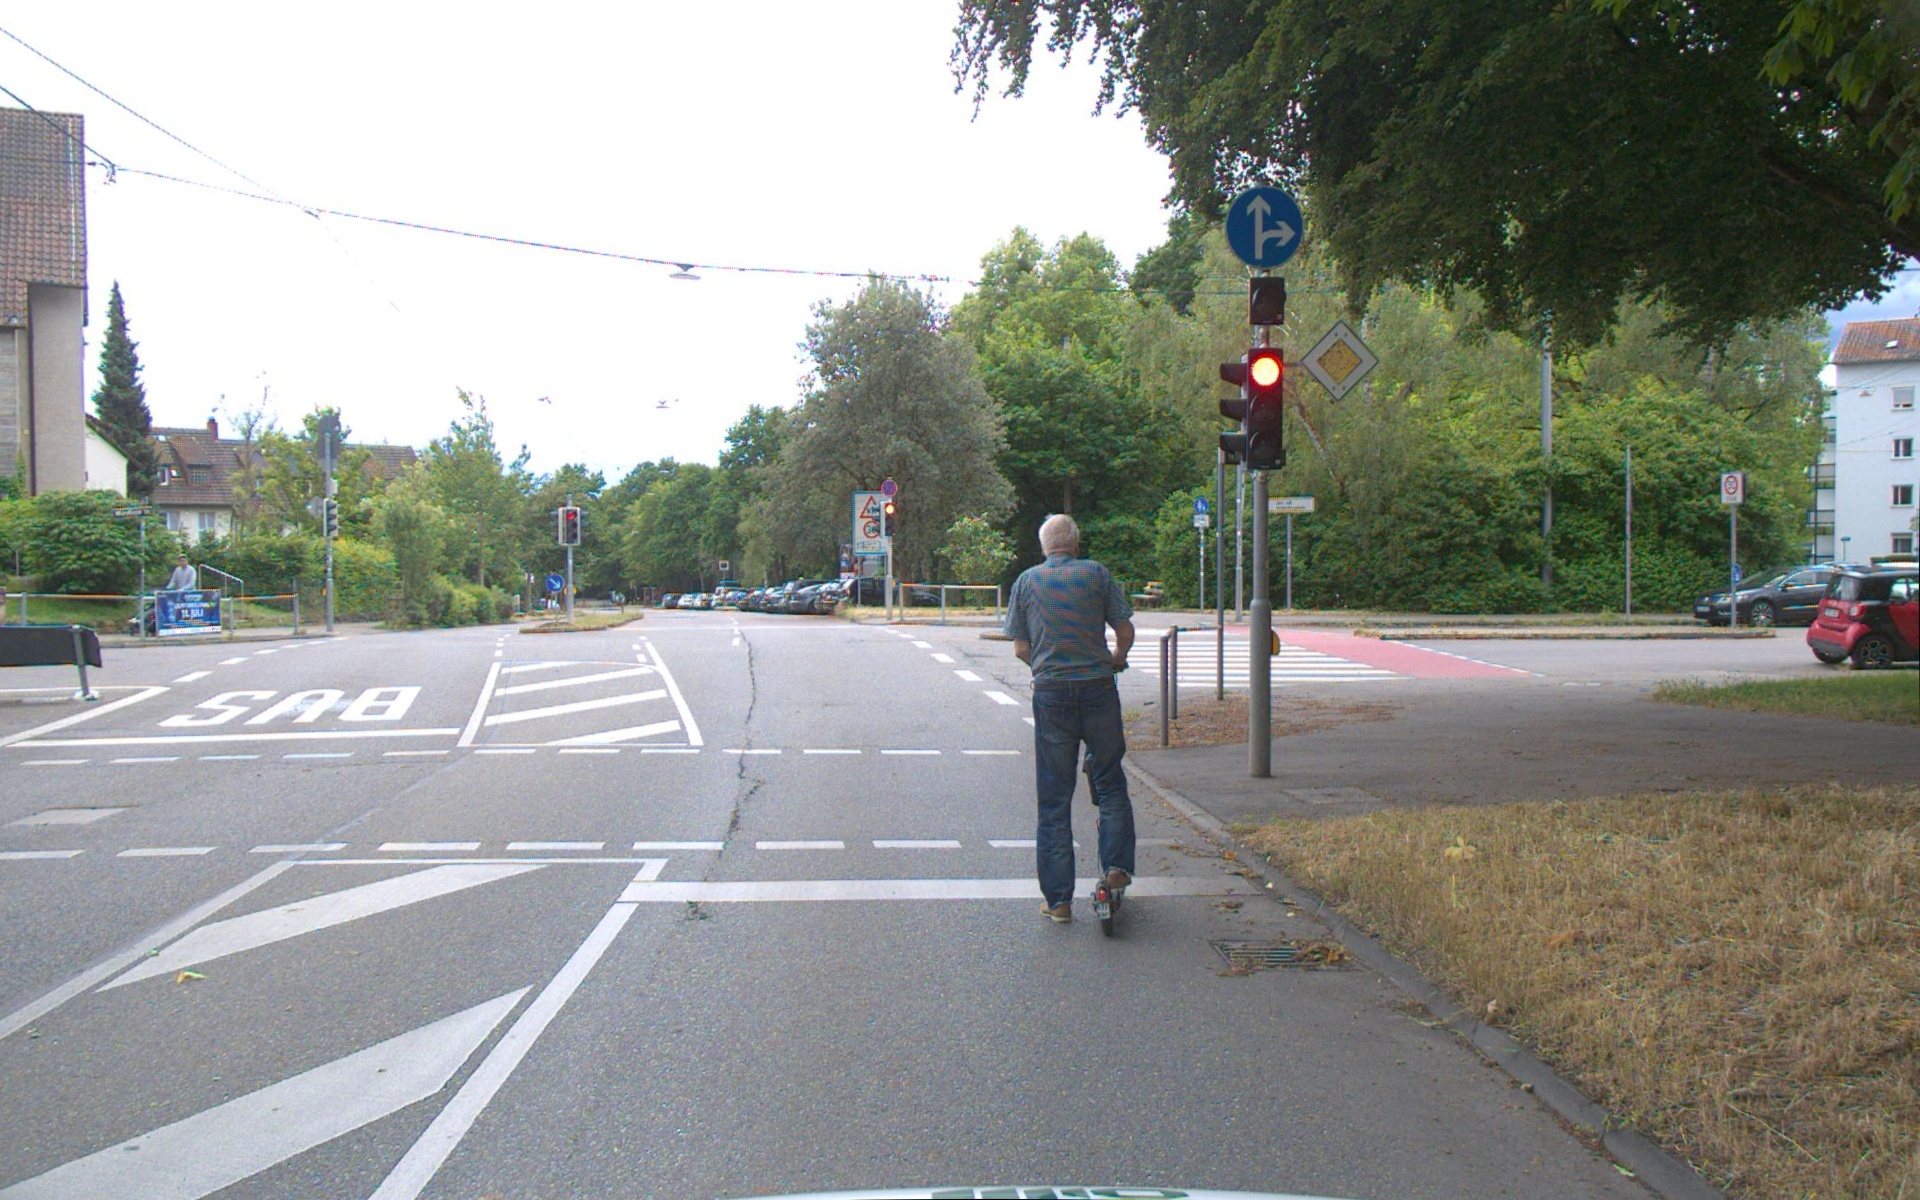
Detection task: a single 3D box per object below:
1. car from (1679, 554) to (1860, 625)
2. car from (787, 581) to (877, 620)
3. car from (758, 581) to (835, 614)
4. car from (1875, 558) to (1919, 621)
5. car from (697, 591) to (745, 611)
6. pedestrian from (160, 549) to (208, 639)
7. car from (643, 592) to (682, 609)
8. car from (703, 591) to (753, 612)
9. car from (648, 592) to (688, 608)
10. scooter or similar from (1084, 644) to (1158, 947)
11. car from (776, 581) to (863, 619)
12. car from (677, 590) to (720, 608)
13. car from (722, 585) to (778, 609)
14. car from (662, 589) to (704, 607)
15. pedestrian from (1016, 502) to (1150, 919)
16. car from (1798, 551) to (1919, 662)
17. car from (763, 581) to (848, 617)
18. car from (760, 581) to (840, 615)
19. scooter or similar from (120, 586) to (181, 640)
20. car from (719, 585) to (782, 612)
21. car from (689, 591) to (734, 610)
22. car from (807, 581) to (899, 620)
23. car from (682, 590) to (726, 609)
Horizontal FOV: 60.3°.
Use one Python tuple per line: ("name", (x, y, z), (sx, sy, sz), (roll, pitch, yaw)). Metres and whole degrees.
("car", (19.151, -0.262, 39.238), (3.444, 1.557, 1.729), (-2, 1, 5))
("car", (-5.933, 0.005, 76.667), (3.792, 1.639, 1.715), (-2, 1, -25))
("car", (-8.806, -0.145, 88.926), (3.790, 1.639, 1.716), (-2, 1, -24))
("car", (26.402, -0.336, 45.818), (1.689, 1.639, 3.850), (-1, 1, 27))
("car", (-20.557, 0.080, 142.449), (3.790, 1.639, 1.716), (-2, 1, -24))
("pedestrian", (-16.615, -0.141, 35.433), (0.561, 1.895, 0.887), (-1, 0, 1))
("car", (-31.938, 0.062, 177.481), (3.790, 1.639, 1.716), (-2, 1, -24))
("car", (-19.463, 0.112, 138.791), (3.790, 1.639, 1.716), (-2, 1, -24))
("car", (-30.929, 0.003, 175.159), (3.790, 1.639, 1.716), (-2, 1, -24))
("scooter or similar", (0.731, 0.821, 7.393), (0.276, 1.199, 1.178), (-1, 1, 7))
("car", (-6.727, -0.014, 79.196), (3.790, 1.639, 1.716), (-2, 1, -24))
("car", (-25.057, -0.097, 158.389), (3.790, 1.639, 1.716), (-2, 1, -24))
("car", (-15.442, -0.231, 121.656), (3.790, 1.639, 1.716), (-2, 1, -24))
("car", (-27.696, -0.177, 165.415), (3.790, 1.639, 1.716), (-2, 1, -24))
("pedestrian", (0.569, 0.490, 7.566), (0.560, 1.845, 0.421), (-1, 0, 7))
("car", (15.254, 0.049, 25.836), (3.444, 1.639, 1.729), (-2, 1, 4))
("car", (-7.579, -0.068, 81.218), (3.790, 1.639, 1.716), (-2, 1, -24))
("car", (-8.367, -0.132, 86.520), (3.790, 1.639, 1.716), (-2, 1, -24))
("scooter or similar", (-16.883, 0.268, 34.507), (0.563, 1.100, 1.112), (-1, 1, 10))
("car", (-13.785, -0.092, 108.713), (3.790, 1.639, 1.716), (-2, 1, -24))
("car", (-23.066, 0.003, 153.716), (3.790, 1.639, 1.716), (-2, 1, -24))
("car", (-4.848, 0.012, 74.713), (3.787, 1.639, 1.717), (-2, 1, -22))
("car", (-24.125, -0.070, 155.833), (3.790, 1.639, 1.716), (-2, 1, -24))
